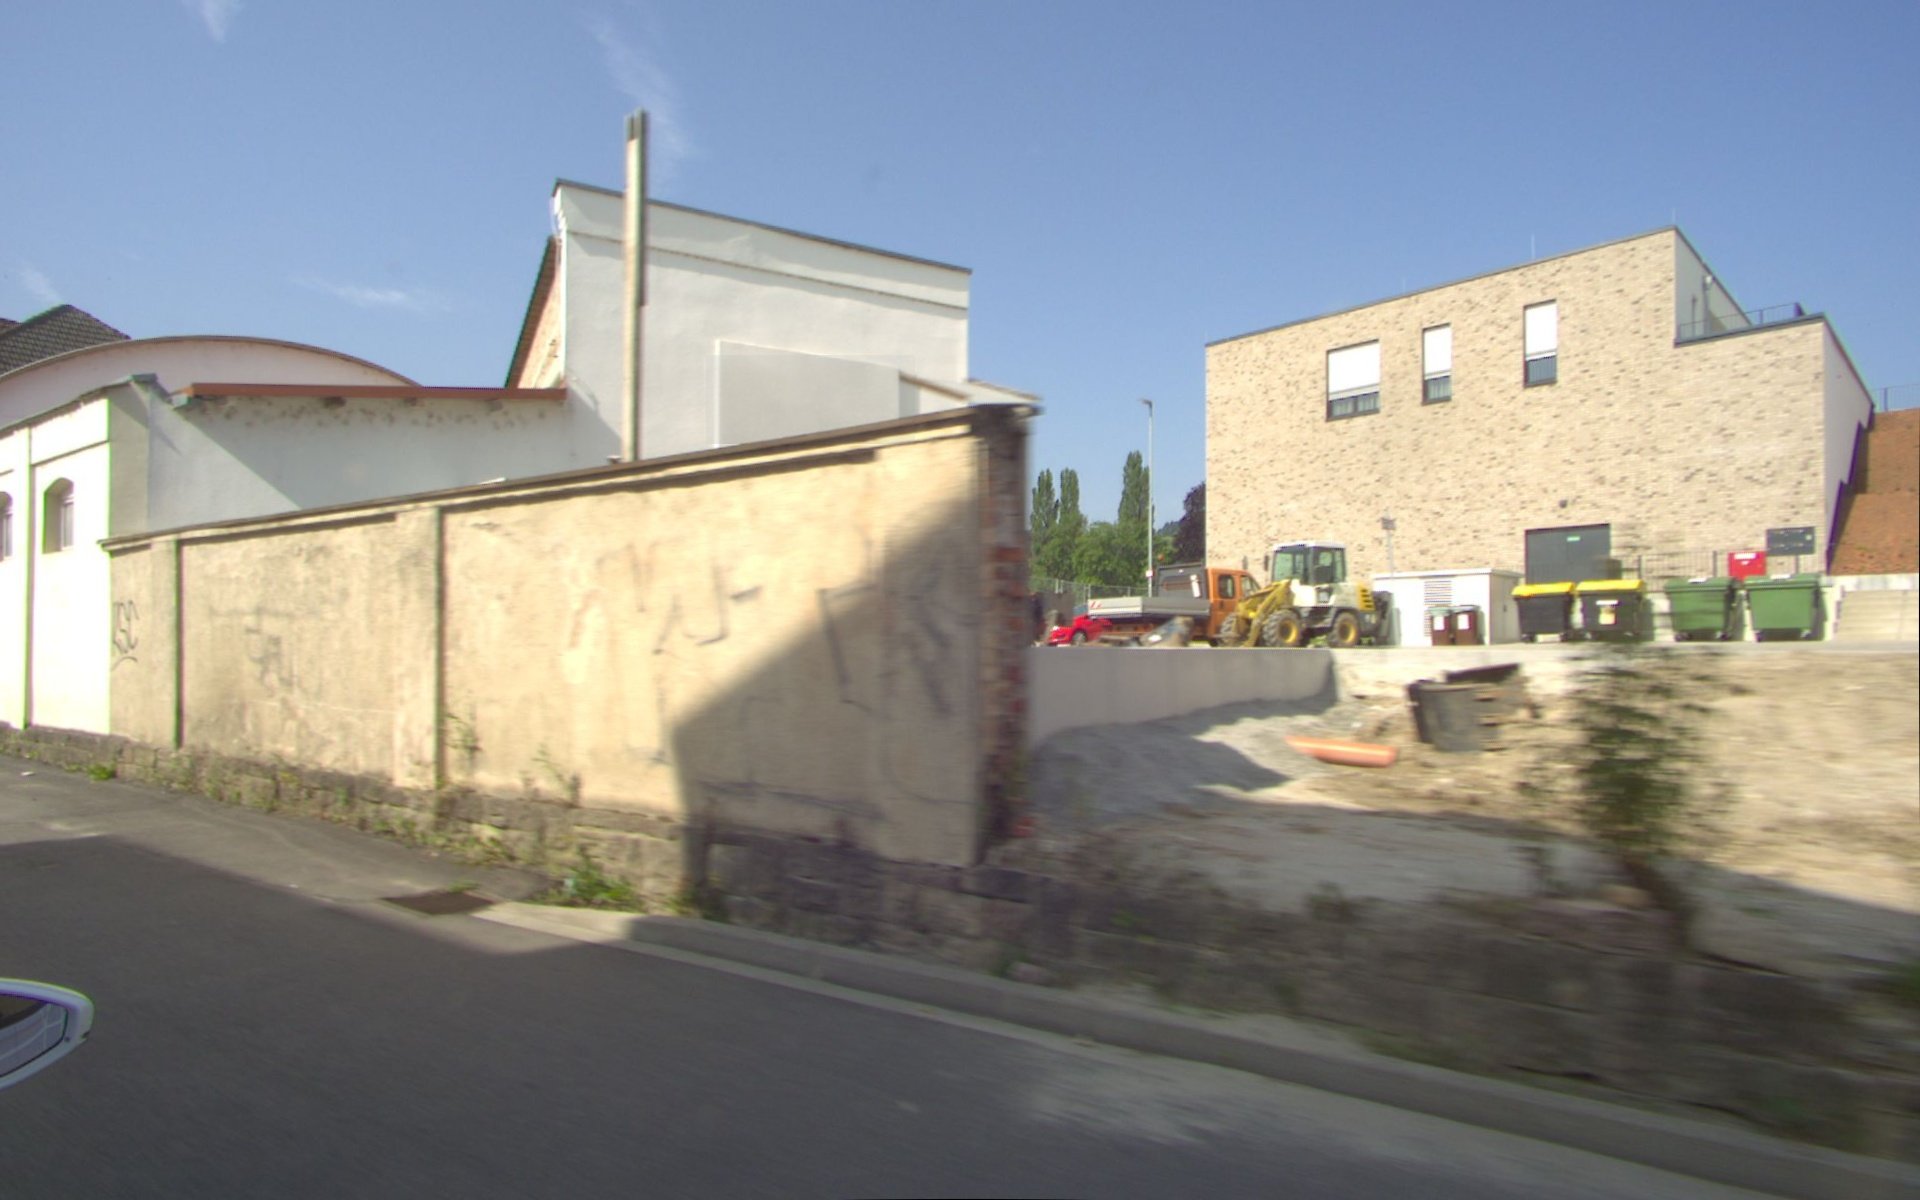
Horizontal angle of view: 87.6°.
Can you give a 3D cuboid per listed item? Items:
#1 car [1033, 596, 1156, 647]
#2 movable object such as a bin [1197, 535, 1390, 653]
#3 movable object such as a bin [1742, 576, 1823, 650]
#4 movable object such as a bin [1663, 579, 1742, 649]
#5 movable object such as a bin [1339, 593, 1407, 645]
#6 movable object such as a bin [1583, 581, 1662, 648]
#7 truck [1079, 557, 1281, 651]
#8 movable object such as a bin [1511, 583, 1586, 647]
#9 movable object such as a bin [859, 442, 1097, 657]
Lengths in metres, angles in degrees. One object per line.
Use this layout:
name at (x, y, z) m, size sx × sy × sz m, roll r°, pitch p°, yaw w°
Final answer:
car at (4.319, 0.726, 32.070) m, size 3.709 × 1.536 × 1.497 m, roll 2°, pitch -4°, yaw -27°
movable object such as a bin at (8.043, -0.082, 24.052) m, size 4.564 × 2.602 × 1.915 m, roll 0°, pitch -2°, yaw -32°
movable object such as a bin at (18.021, 0.305, 21.927) m, size 1.306 × 1.481 × 1.293 m, roll -1°, pitch -5°, yaw 43°
movable object such as a bin at (17.036, 0.337, 22.980) m, size 1.306 × 1.481 × 1.293 m, roll -1°, pitch -5°, yaw 44°
movable object such as a bin at (11.100, 0.528, 26.919) m, size 1.306 × 1.283 × 1.290 m, roll -1°, pitch -5°, yaw 44°
movable object such as a bin at (15.985, 0.375, 24.153) m, size 1.306 × 1.481 × 1.685 m, roll -1°, pitch -5°, yaw 44°
truck at (5.967, 0.156, 26.935) m, size 5.258 × 2.294 × 2.207 m, roll 0°, pitch -2°, yaw -32°
movable object such as a bin at (14.877, 0.407, 25.286) m, size 1.306 × 1.481 × 1.572 m, roll -1°, pitch -5°, yaw 44°
movable object such as a bin at (0.136, -0.725, 20.845) m, size 2.813 × 3.665 × 5.722 m, roll 4°, pitch -4°, yaw -22°
